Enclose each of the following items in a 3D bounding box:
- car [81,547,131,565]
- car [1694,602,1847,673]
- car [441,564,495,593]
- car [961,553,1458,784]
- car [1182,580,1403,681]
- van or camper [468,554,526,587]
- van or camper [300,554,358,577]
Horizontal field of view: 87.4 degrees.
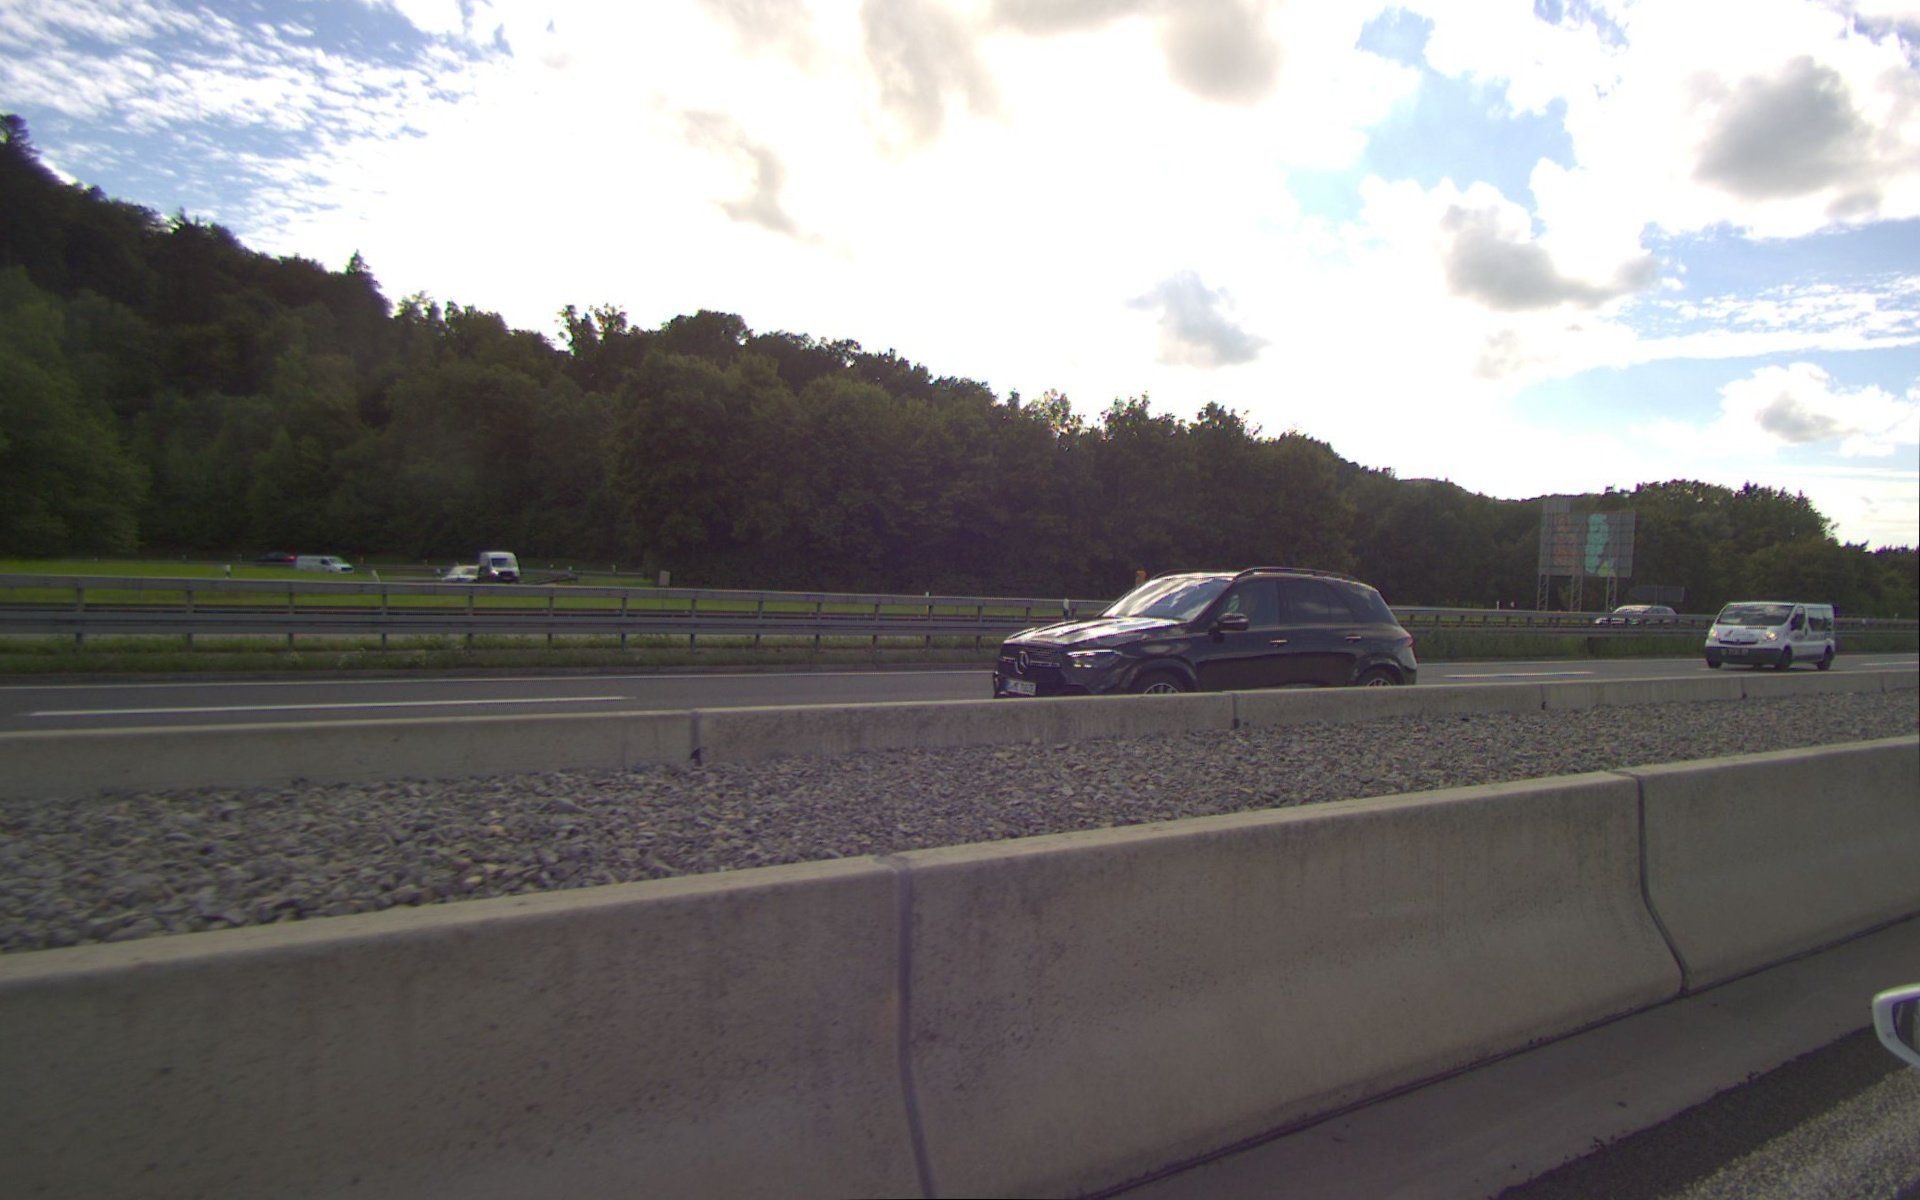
[{"bbox_3d":[-87.040,-4.511,102.404,3.815,1.656,1.678,2,1,4],"label":"car"},{"bbox_3d":[24.018,1.073,29.710,5.228,1.931,1.904,1,0,-32],"label":"car"},{"bbox_3d":[-26.489,-1.148,54.172,1.702,1.470,4.291,2,1,-14],"label":"car"},{"bbox_3d":[2.725,0.606,10.584,5.087,1.946,1.984,1,1,-30],"label":"car"},{"bbox_3d":[6.761,0.590,20.353,4.193,1.839,1.983,1,1,-32],"label":"car"},{"bbox_3d":[-33.987,-2.172,73.671,2.092,2.279,5.656,1,1,-45],"label":"van or camper"},{"bbox_3d":[-58.801,-3.223,93.602,5.035,1.883,1.813,2,1,19],"label":"van or camper"}]
